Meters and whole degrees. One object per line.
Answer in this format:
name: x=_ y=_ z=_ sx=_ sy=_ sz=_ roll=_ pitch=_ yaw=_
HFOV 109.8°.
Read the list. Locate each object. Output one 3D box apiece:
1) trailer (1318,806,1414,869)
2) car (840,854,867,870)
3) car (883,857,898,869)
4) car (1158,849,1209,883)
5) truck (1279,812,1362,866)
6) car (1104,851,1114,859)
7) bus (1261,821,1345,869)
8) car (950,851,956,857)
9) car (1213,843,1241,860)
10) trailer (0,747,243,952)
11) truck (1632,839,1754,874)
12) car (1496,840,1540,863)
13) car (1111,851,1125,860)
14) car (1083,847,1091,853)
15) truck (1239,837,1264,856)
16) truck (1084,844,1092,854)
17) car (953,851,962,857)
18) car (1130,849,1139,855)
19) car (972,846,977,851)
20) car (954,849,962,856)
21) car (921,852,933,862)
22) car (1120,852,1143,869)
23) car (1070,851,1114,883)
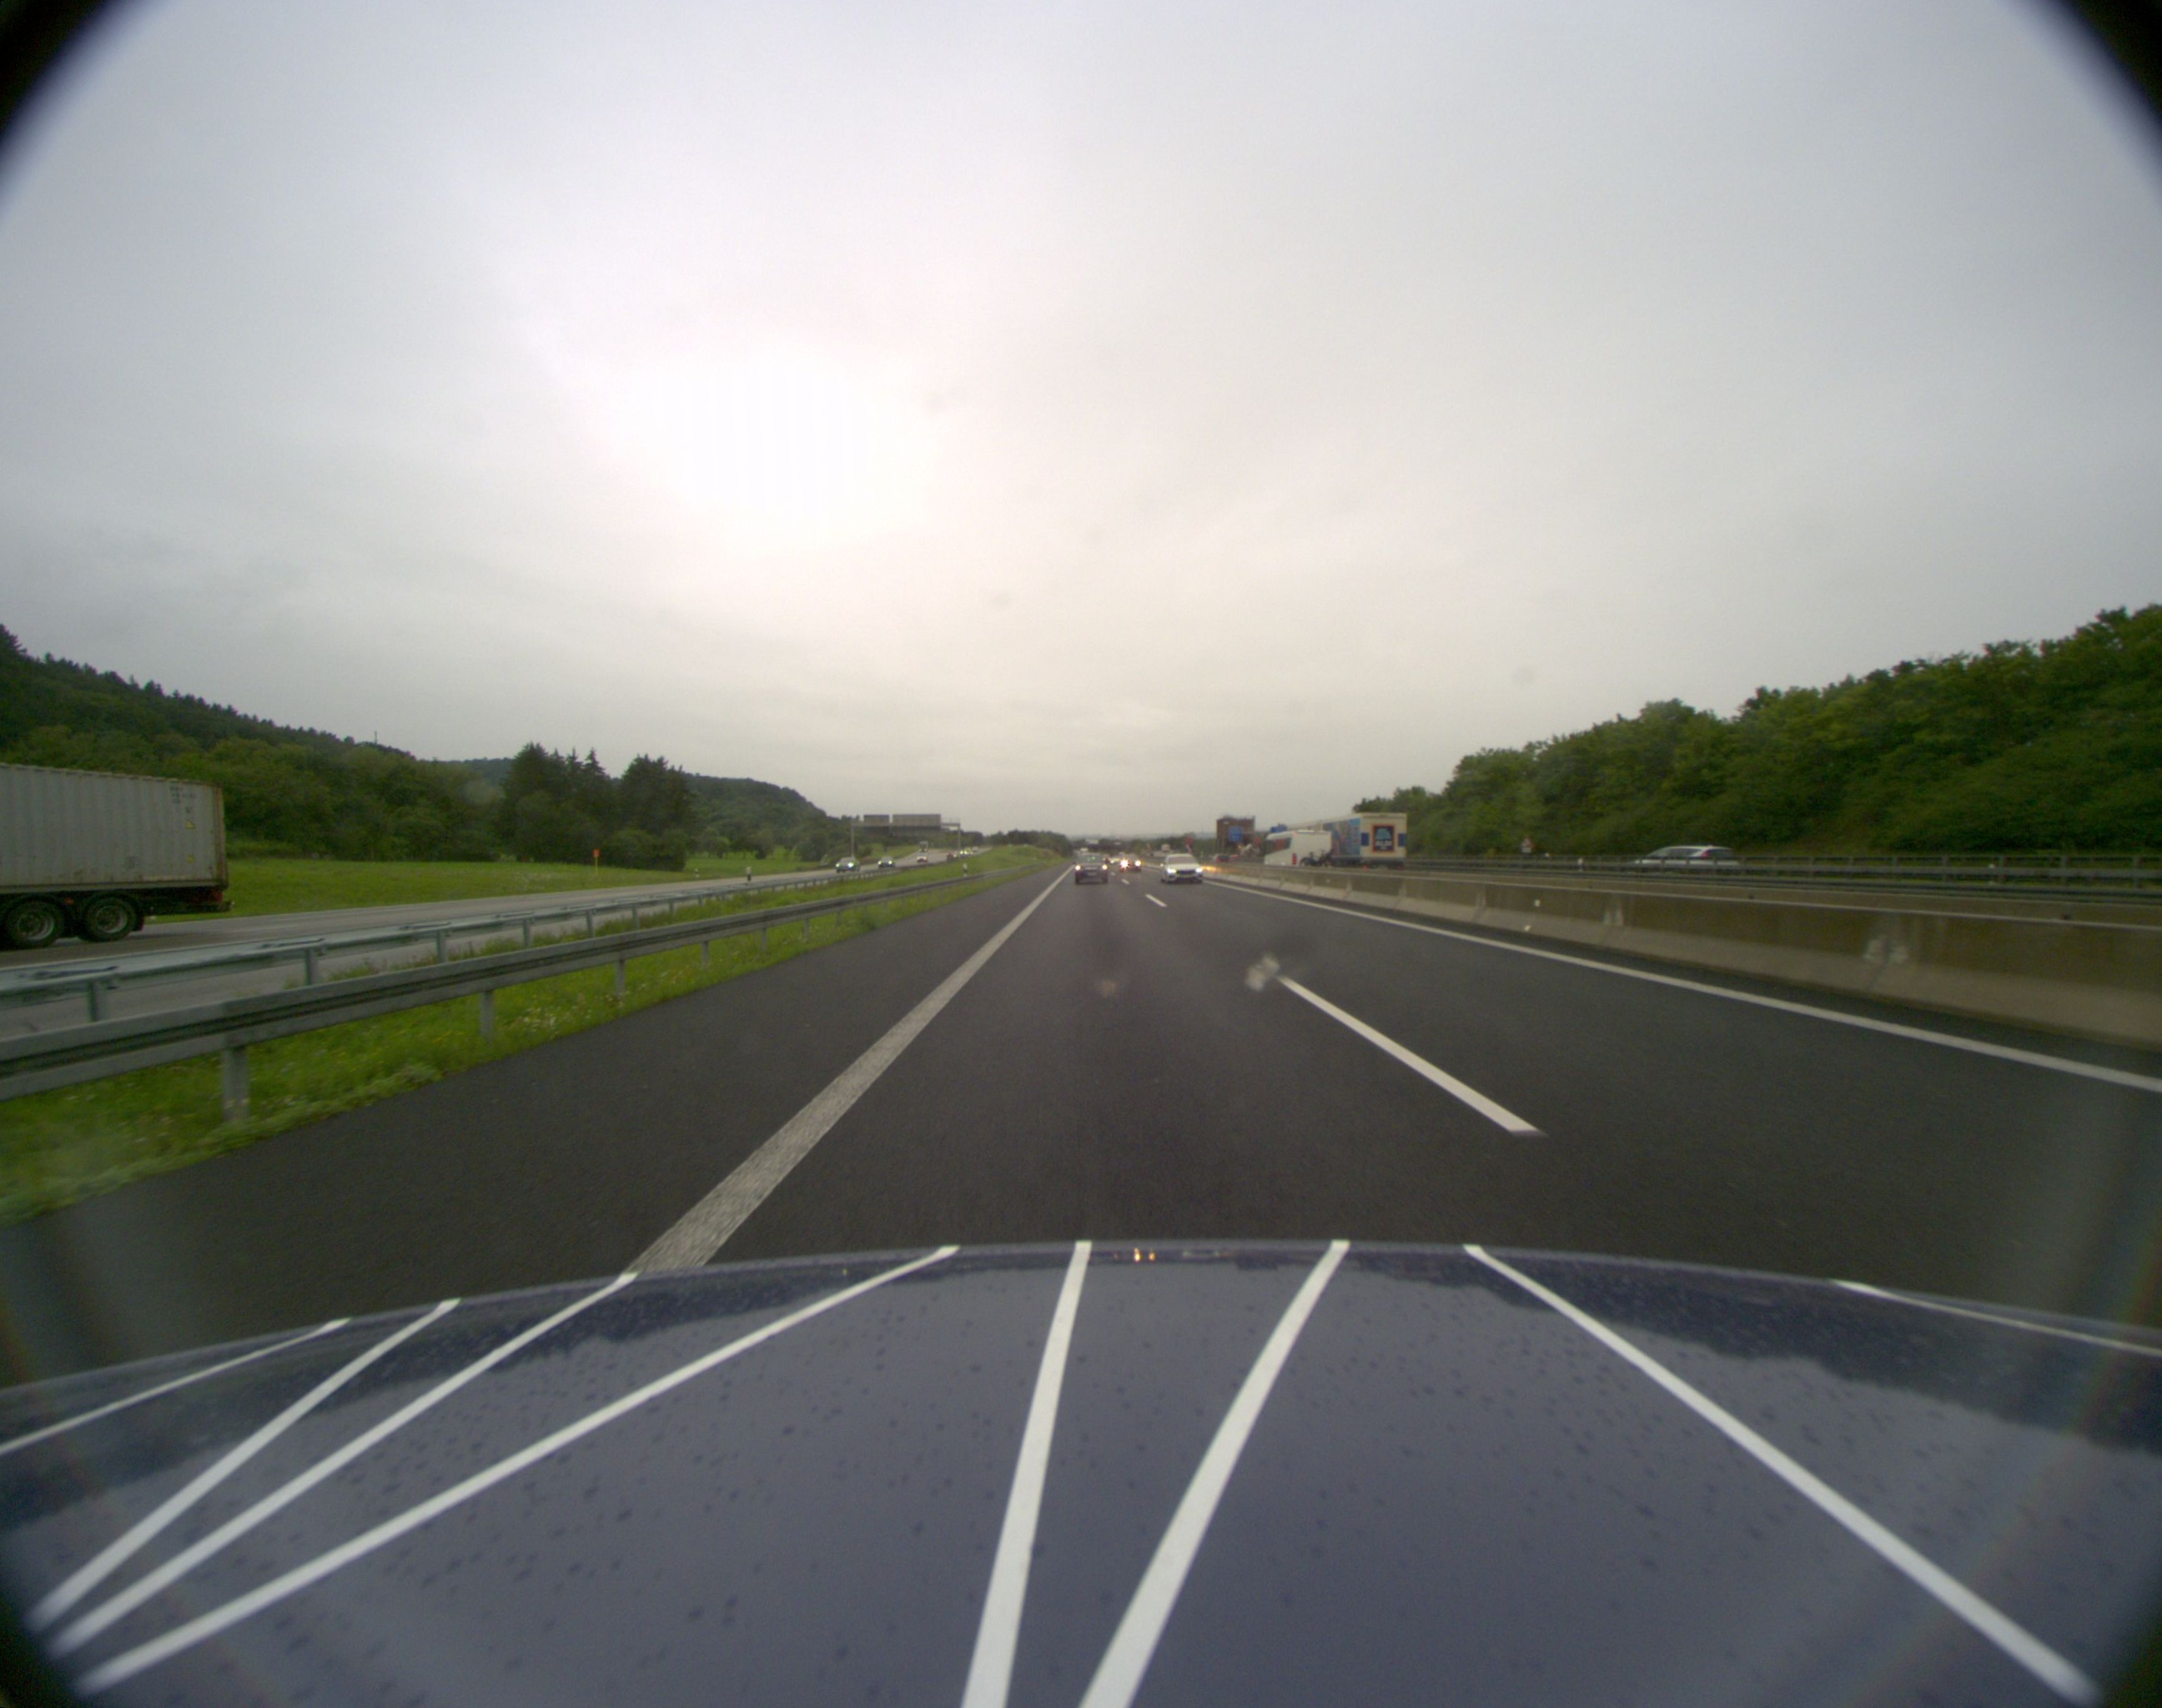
trailer: x=17.625 y=-0.994 z=47.677 sx=2.950 sy=3.496 sz=8.050 roll=-3 pitch=1 yaw=1
car: x=-24.426 y=0.827 z=81.570 sx=2.000 sy=1.710 sz=4.315 roll=-1 pitch=0 yaw=-6
car: x=-26.402 y=1.221 z=105.449 sx=1.752 sy=1.499 sz=3.996 roll=-3 pitch=1 yaw=-10
car: x=5.170 y=0.556 z=38.913 sx=1.998 sy=1.582 sz=4.816 roll=-1 pitch=0 yaw=1
truck: x=17.722 y=-1.073 z=57.130 sx=2.815 sy=3.504 sz=10.640 roll=-3 pitch=1 yaw=1
car: x=5.687 y=0.231 z=154.036 sx=1.998 sy=1.565 sz=4.000 roll=-3 pitch=0 yaw=1
bus: x=13.317 y=-0.523 z=46.420 sx=2.547 sy=2.571 sz=8.269 roll=-3 pitch=1 yaw=-1
car: x=-36.406 y=0.012 z=215.921 sx=1.585 sy=1.543 sz=3.996 roll=-3 pitch=1 yaw=-9
car: x=14.379 y=-0.243 z=75.148 sx=1.998 sy=1.608 sz=4.000 roll=-2 pitch=0 yaw=0
trailer: x=-22.001 y=-0.025 z=12.880 sx=2.498 sy=3.961 sz=12.399 roll=-3 pitch=1 yaw=-5
truck: x=28.475 y=0.106 z=35.587 sx=1.999 sy=1.487 sz=4.470 roll=-1 pitch=0 yaw=-3
car: x=39.520 y=-0.270 z=68.773 sx=1.754 sy=2.002 sz=4.000 roll=-1 pitch=0 yaw=1
car: x=5.700 y=0.256 z=117.875 sx=1.942 sy=1.341 sz=4.000 roll=-2 pitch=0 yaw=1
car: x=1.481 y=-0.945 z=187.809 sx=1.942 sy=1.341 sz=4.000 roll=-3 pitch=0 yaw=1
truck: x=33.717 y=-1.540 z=150.409 sx=2.692 sy=3.640 sz=9.556 roll=-1 pitch=0 yaw=0
truck: x=2.408 y=-1.711 z=262.141 sx=2.728 sy=3.098 sz=7.960 roll=-3 pitch=0 yaw=1
car: x=-32.766 y=-0.019 z=201.500 sx=1.584 sy=1.543 sz=3.999 roll=-3 pitch=1 yaw=-2
car: x=14.239 y=-0.575 z=202.463 sx=1.999 sy=1.641 sz=5.026 roll=-3 pitch=0 yaw=-1
car: x=-34.927 y=-1.798 z=248.442 sx=1.585 sy=1.543 sz=3.996 roll=-3 pitch=1 yaw=-9
car: x=-38.161 y=-0.451 z=235.633 sx=1.734 sy=2.002 sz=3.999 roll=-3 pitch=1 yaw=0
car: x=-31.755 y=0.693 z=156.630 sx=1.999 sy=2.002 sz=3.998 roll=-1 pitch=0 yaw=-4
car: x=4.323 y=0.535 z=65.380 sx=1.835 sy=1.417 sz=4.368 roll=-1 pitch=0 yaw=2
car: x=0.645 y=0.643 z=41.208 sx=2.242 sy=1.565 sz=4.817 roll=-2 pitch=0 yaw=2
